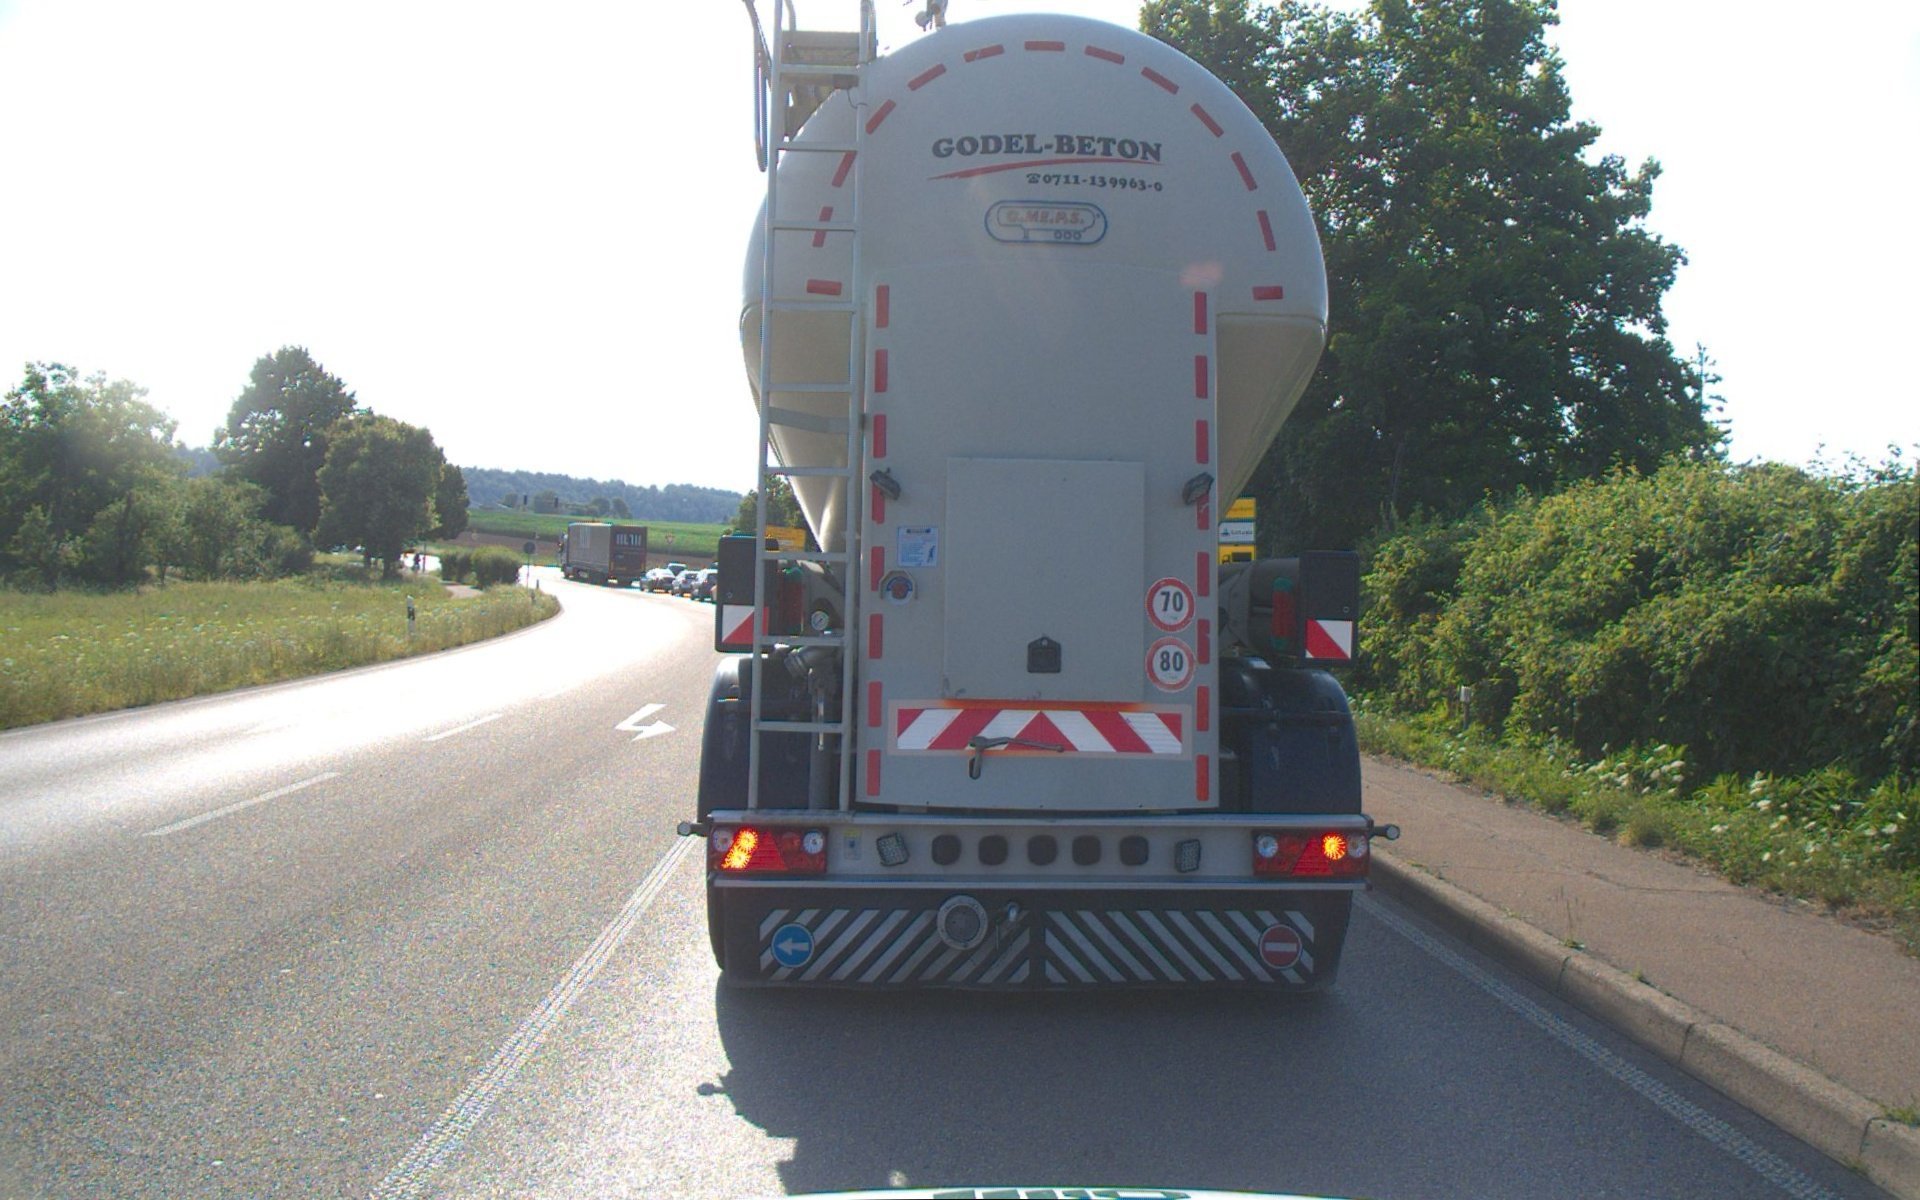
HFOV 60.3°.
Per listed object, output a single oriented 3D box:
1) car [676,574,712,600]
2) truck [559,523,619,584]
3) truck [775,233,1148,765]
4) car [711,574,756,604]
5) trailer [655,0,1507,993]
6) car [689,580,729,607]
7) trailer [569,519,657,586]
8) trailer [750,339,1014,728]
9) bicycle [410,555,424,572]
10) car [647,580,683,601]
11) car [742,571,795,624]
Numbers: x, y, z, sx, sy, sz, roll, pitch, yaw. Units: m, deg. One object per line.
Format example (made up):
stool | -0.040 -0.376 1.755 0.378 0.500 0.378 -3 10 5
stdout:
car | -15.379 -0.761 95.526 1.556 1.364 3.408 2 0 -18
truck | -28.450 -3.564 126.785 3.331 4.426 5.664 2 0 -24
truck | -0.113 -0.775 14.874 2.852 4.076 4.056 1 0 -4
car | -11.154 -0.561 81.318 1.556 1.364 3.408 2 0 -18
trailer | 0.152 -0.730 10.547 2.852 4.076 9.923 1 0 -3
car | -13.282 -0.356 87.439 1.556 1.364 3.408 2 0 -18
trailer | -25.160 -3.390 119.189 3.331 4.426 14.189 2 0 -23
trailer | -0.976 -0.808 26.243 2.895 4.390 14.173 2 0 -1
bicycle | -37.821 -2.554 115.281 0.623 1.093 1.667 3 0 -9
car | -18.168 -0.590 101.773 1.742 1.227 3.408 2 0 -18
car | -7.786 -0.123 67.080 1.828 2.049 3.709 1 0 -11
